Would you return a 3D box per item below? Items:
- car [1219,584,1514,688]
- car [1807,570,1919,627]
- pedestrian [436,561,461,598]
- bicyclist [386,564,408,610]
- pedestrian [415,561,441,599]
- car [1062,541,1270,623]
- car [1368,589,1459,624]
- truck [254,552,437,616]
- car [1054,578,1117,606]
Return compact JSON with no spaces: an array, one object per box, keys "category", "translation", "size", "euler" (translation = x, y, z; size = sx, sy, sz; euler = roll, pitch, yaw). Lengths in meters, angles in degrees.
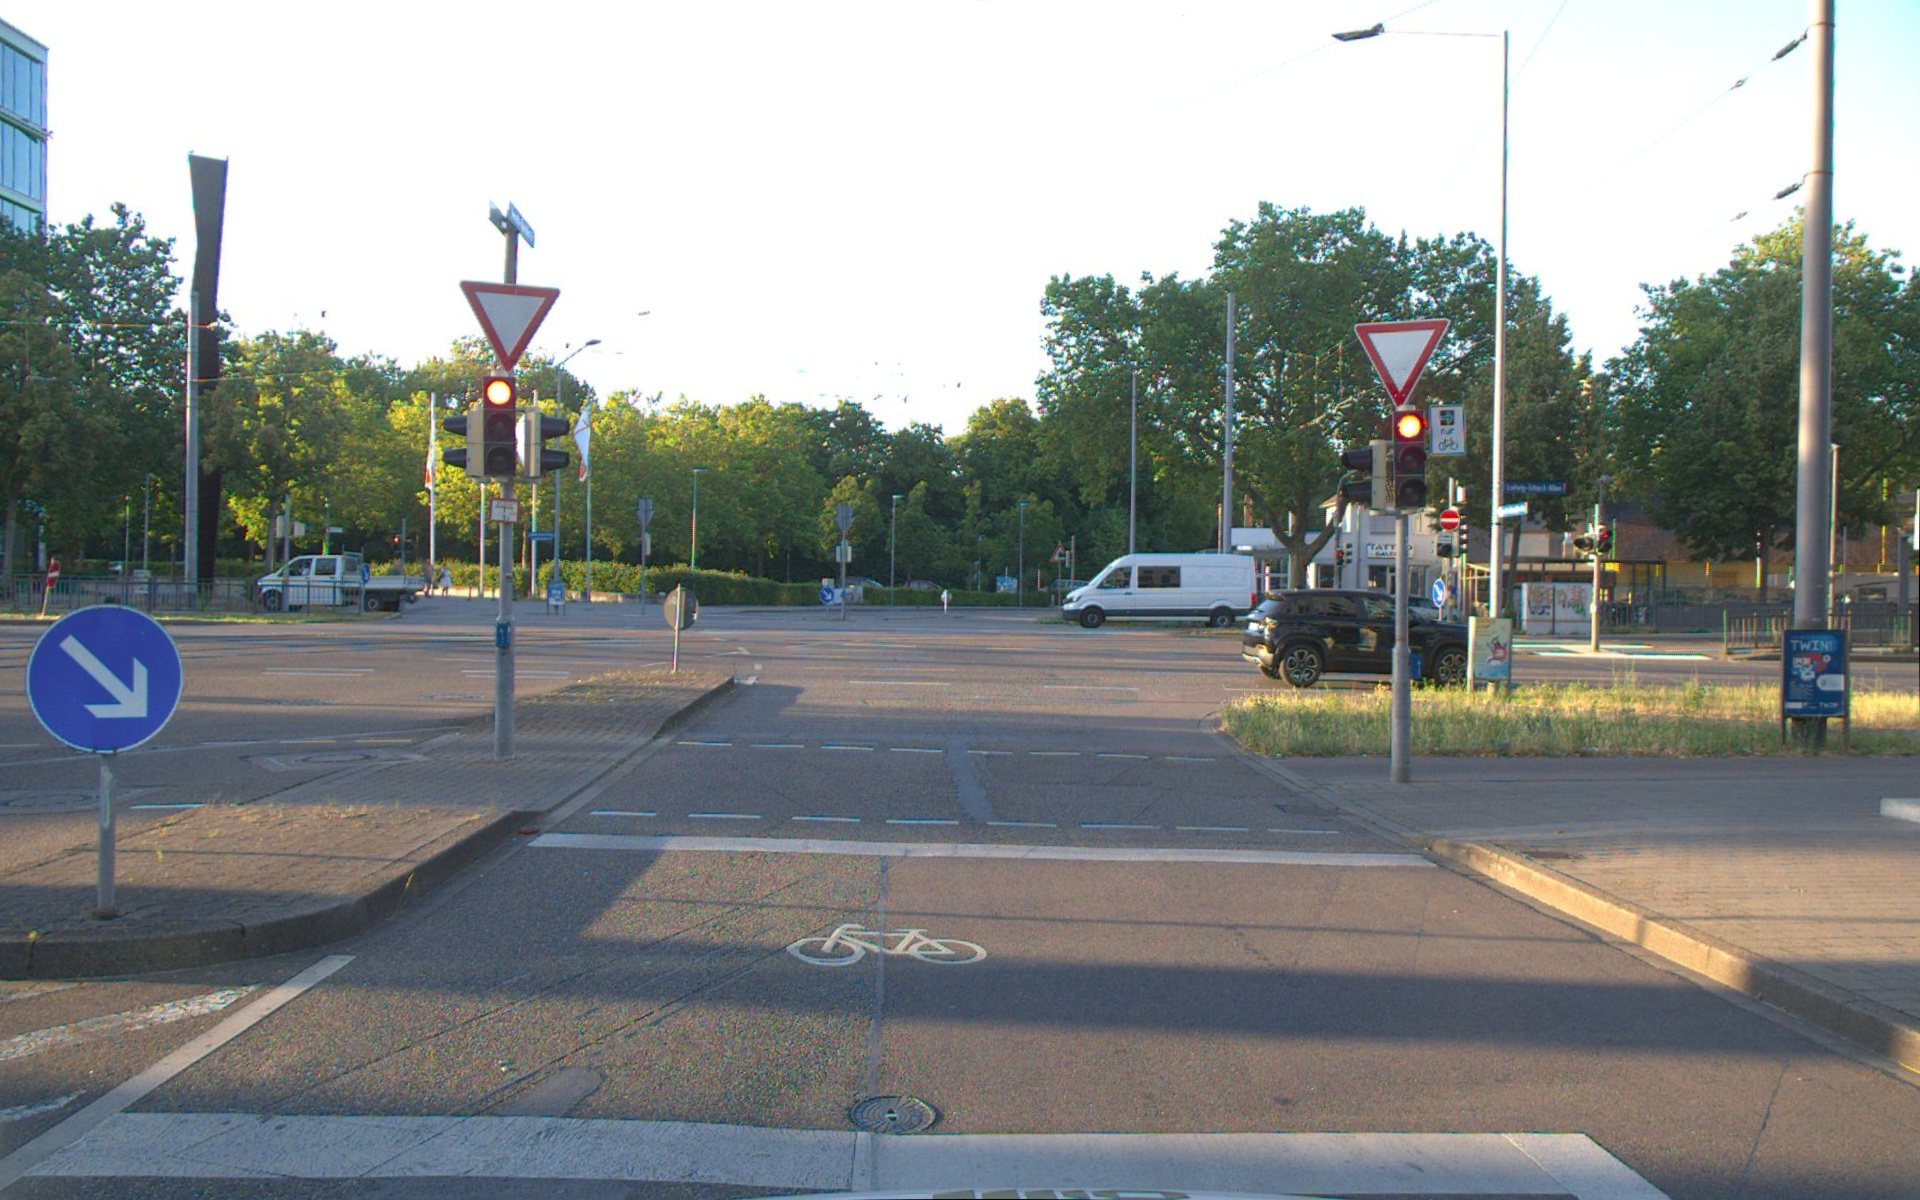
[{"category":"car","translation":[6.630,0.562,27.305],"size":[4.345,1.601,1.999],"euler":[1,0,-3]},{"category":"car","translation":[43.641,-0.080,78.689],"size":[5.476,2.596,2.231],"euler":[1,0,7]},{"category":"pedestrian","translation":[-24.448,-0.967,79.013],"size":[0.847,1.774,0.826],"euler":[1,0,40]},{"category":"bicyclist","translation":[-21.396,-0.482,62.853],"size":[0.740,1.739,0.914],"euler":[1,0,-23]},{"category":"pedestrian","translation":[-25.147,-0.951,78.196],"size":[0.846,1.774,0.826],"euler":[1,0,39]},{"category":"car","translation":[7.015,-0.600,56.962],"size":[6.777,2.682,2.811],"euler":[1,-1,-1]},{"category":"car","translation":[19.887,0.284,72.607],"size":[3.659,1.465,1.665],"euler":[1,-1,9]},{"category":"truck","translation":[-20.935,-0.542,56.535],"size":[5.445,2.090,2.067],"euler":[1,0,-3]},{"category":"car","translation":[9.519,-0.587,126.022],"size":[4.675,2.041,2.000],"euler":[1,-1,1]}]
